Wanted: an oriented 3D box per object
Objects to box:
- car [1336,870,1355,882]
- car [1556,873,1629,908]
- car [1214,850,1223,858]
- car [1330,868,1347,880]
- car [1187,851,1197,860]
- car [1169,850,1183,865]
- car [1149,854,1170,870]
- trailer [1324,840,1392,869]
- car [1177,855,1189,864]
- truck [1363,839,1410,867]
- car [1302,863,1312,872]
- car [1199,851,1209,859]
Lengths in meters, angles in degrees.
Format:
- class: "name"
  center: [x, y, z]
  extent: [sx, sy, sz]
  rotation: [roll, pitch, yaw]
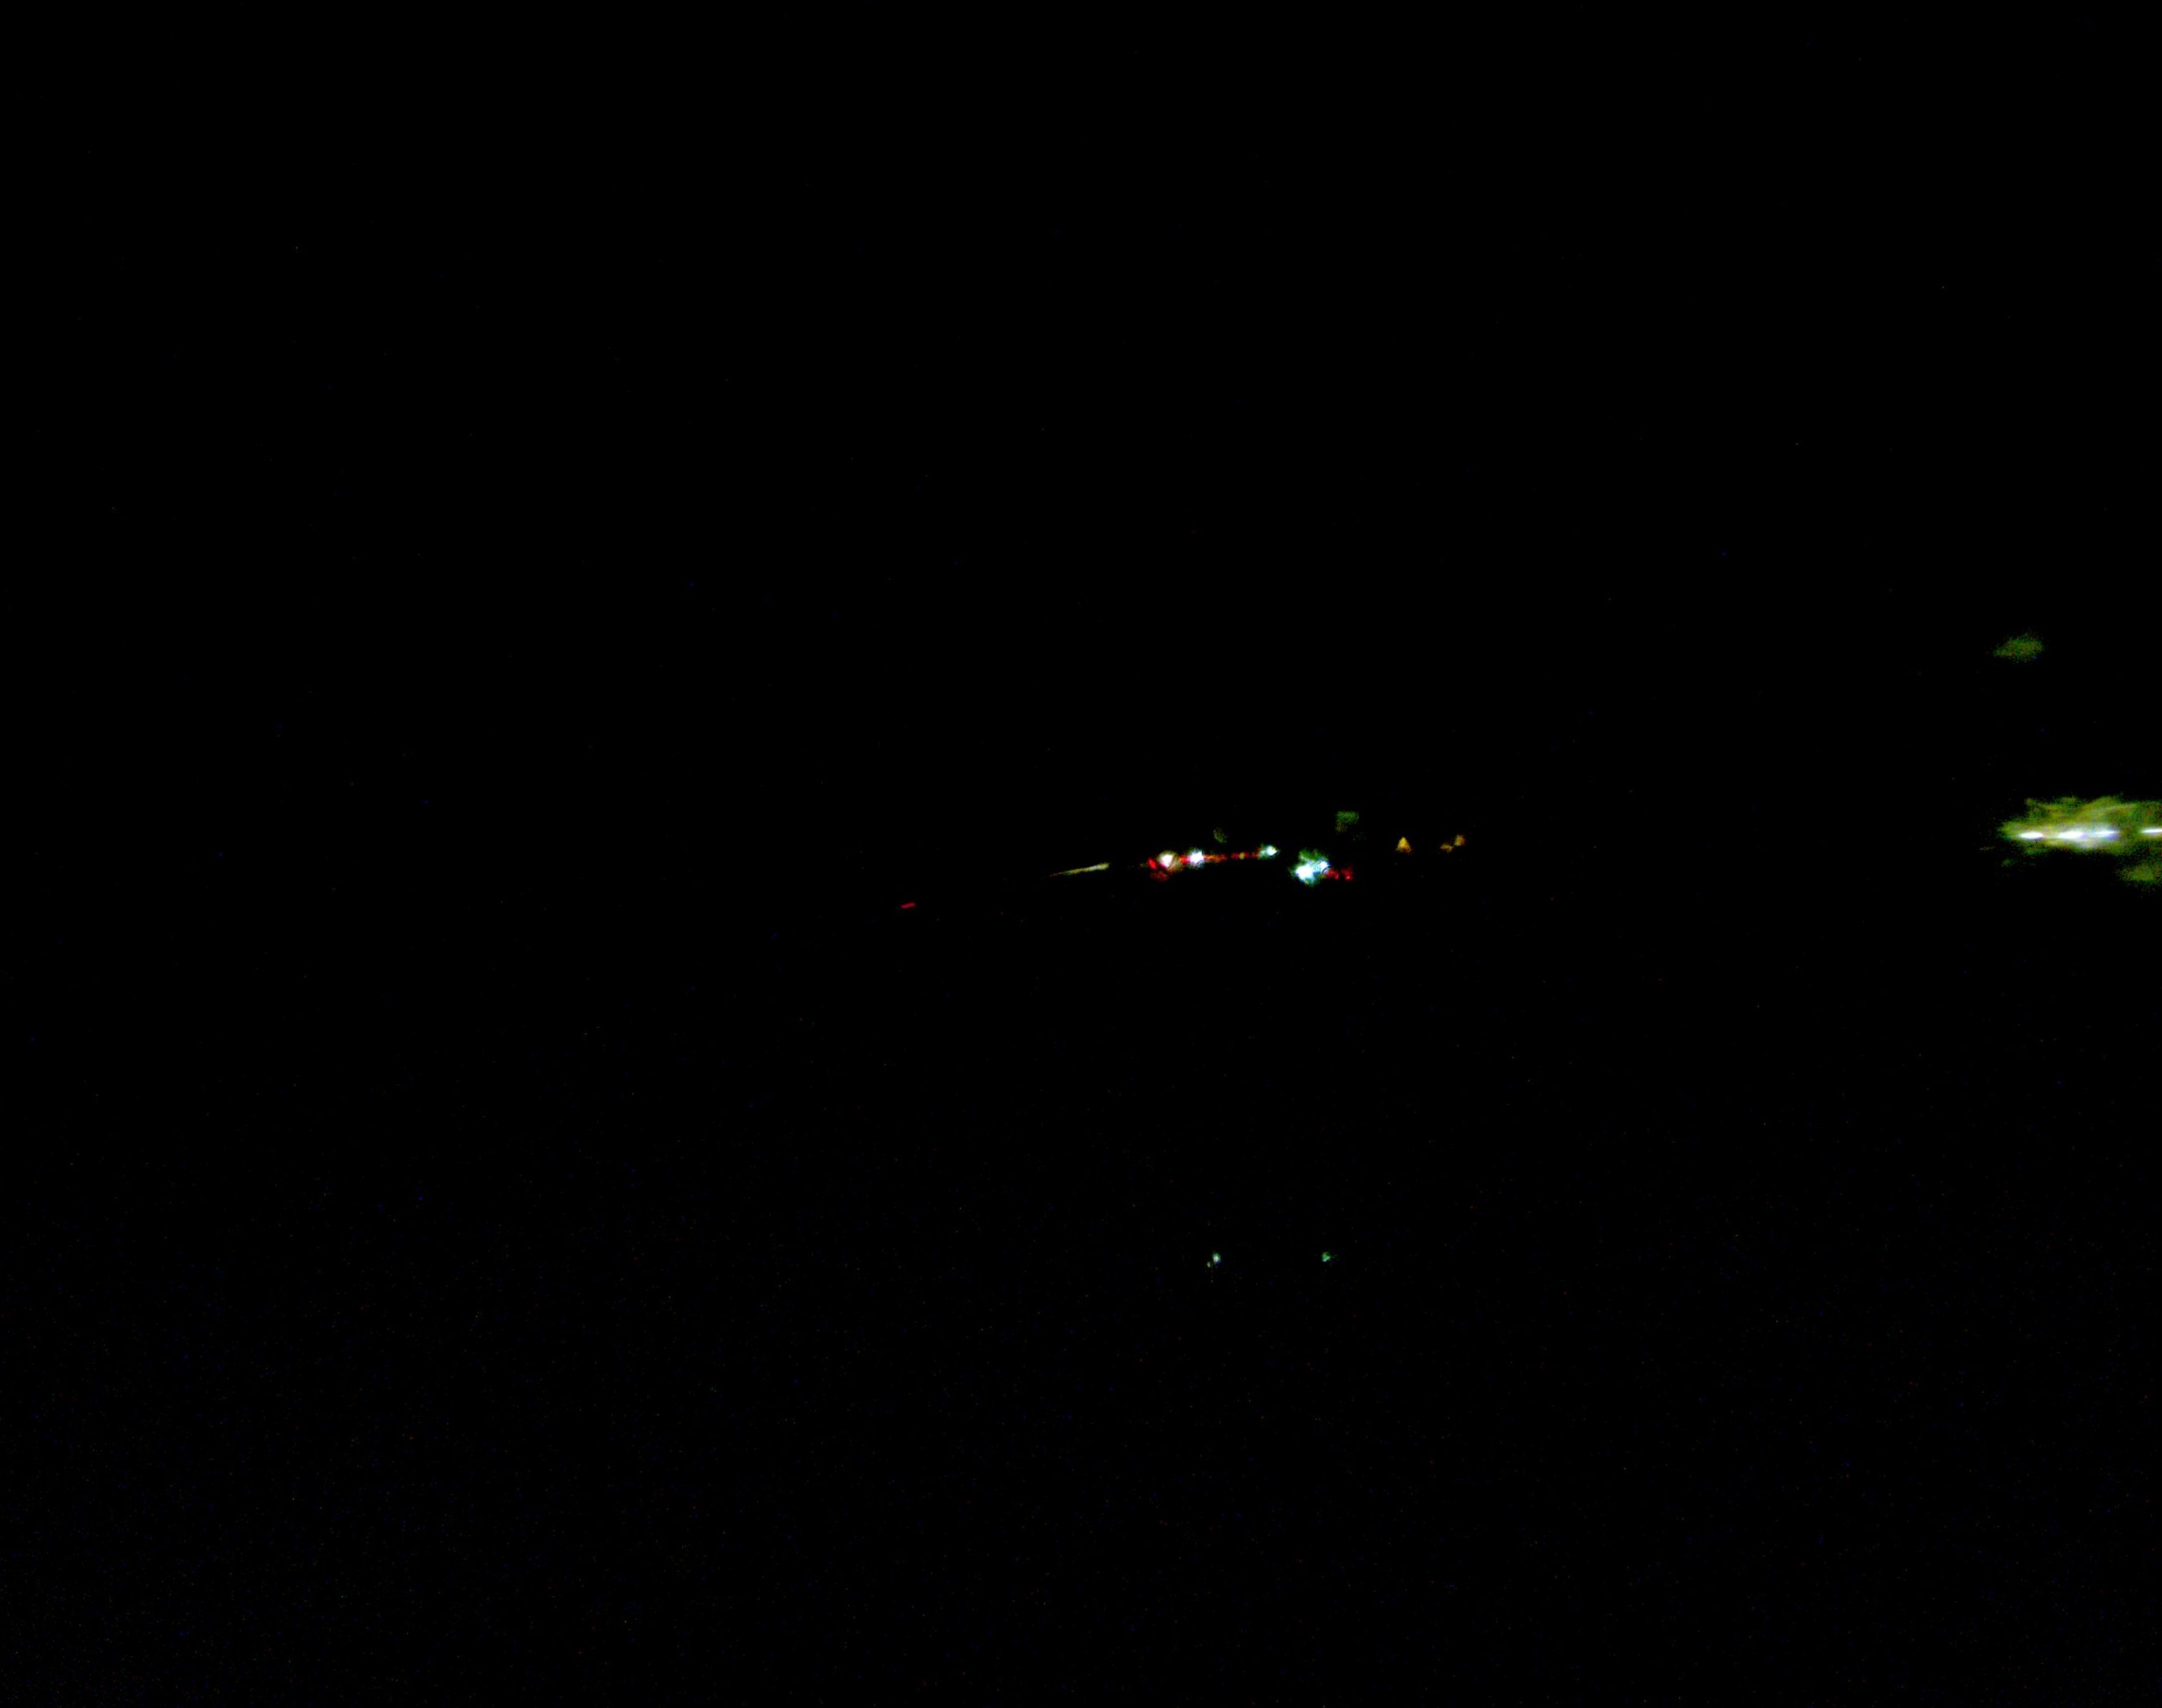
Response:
- class: "car"
  center: [39.075, 3.229, 112.395]
  extent: [1.811, 1.561, 4.295]
  rotation: [-2, 0, 8]
- class: "car"
  center: [33.117, 2.314, 49.321]
  extent: [1.999, 2.002, 3.999]
  rotation: [-2, 0, -1]
- class: "car"
  center: [33.628, 0.032, 185.583]
  extent: [1.791, 1.614, 4.378]
  rotation: [-1, 4, 15]
- class: "car"
  center: [41.433, 3.210, 122.352]
  extent: [1.811, 1.666, 4.295]
  rotation: [-2, 0, 9]
- class: "car"
  center: [20.893, 0.323, 142.829]
  extent: [1.690, 1.671, 3.470]
  rotation: [-2, 1, 13]
- class: "car"
  center: [14.172, 0.543, 113.682]
  extent: [1.997, 2.063, 4.002]
  rotation: [-2, 0, 7]
- class: "car"
  center: [8.450, 0.848, 82.152]
  extent: [1.998, 1.604, 4.612]
  rotation: [-2, 0, 3]
- class: "trailer"
  center: [50.911, 0.106, 139.622]
  extent: [11.559, 4.768, 3.334]
  rotation: [-2, 1, -14]
- class: "car"
  center: [17.090, 0.912, 127.625]
  extent: [1.802, 1.511, 4.538]
  rotation: [-1, 1, 10]
- class: "truck"
  center: [56.648, -0.137, 140.947]
  extent: [7.321, 4.768, 3.334]
  rotation: [-2, 1, -14]
- class: "car"
  center: [46.995, 2.881, 158.154]
  extent: [1.810, 1.666, 4.297]
  rotation: [-2, 0, 16]
- class: "car"
  center: [25.873, 0.204, 159.624]
  extent: [1.820, 1.550, 4.182]
  rotation: [-2, 0, 14]
